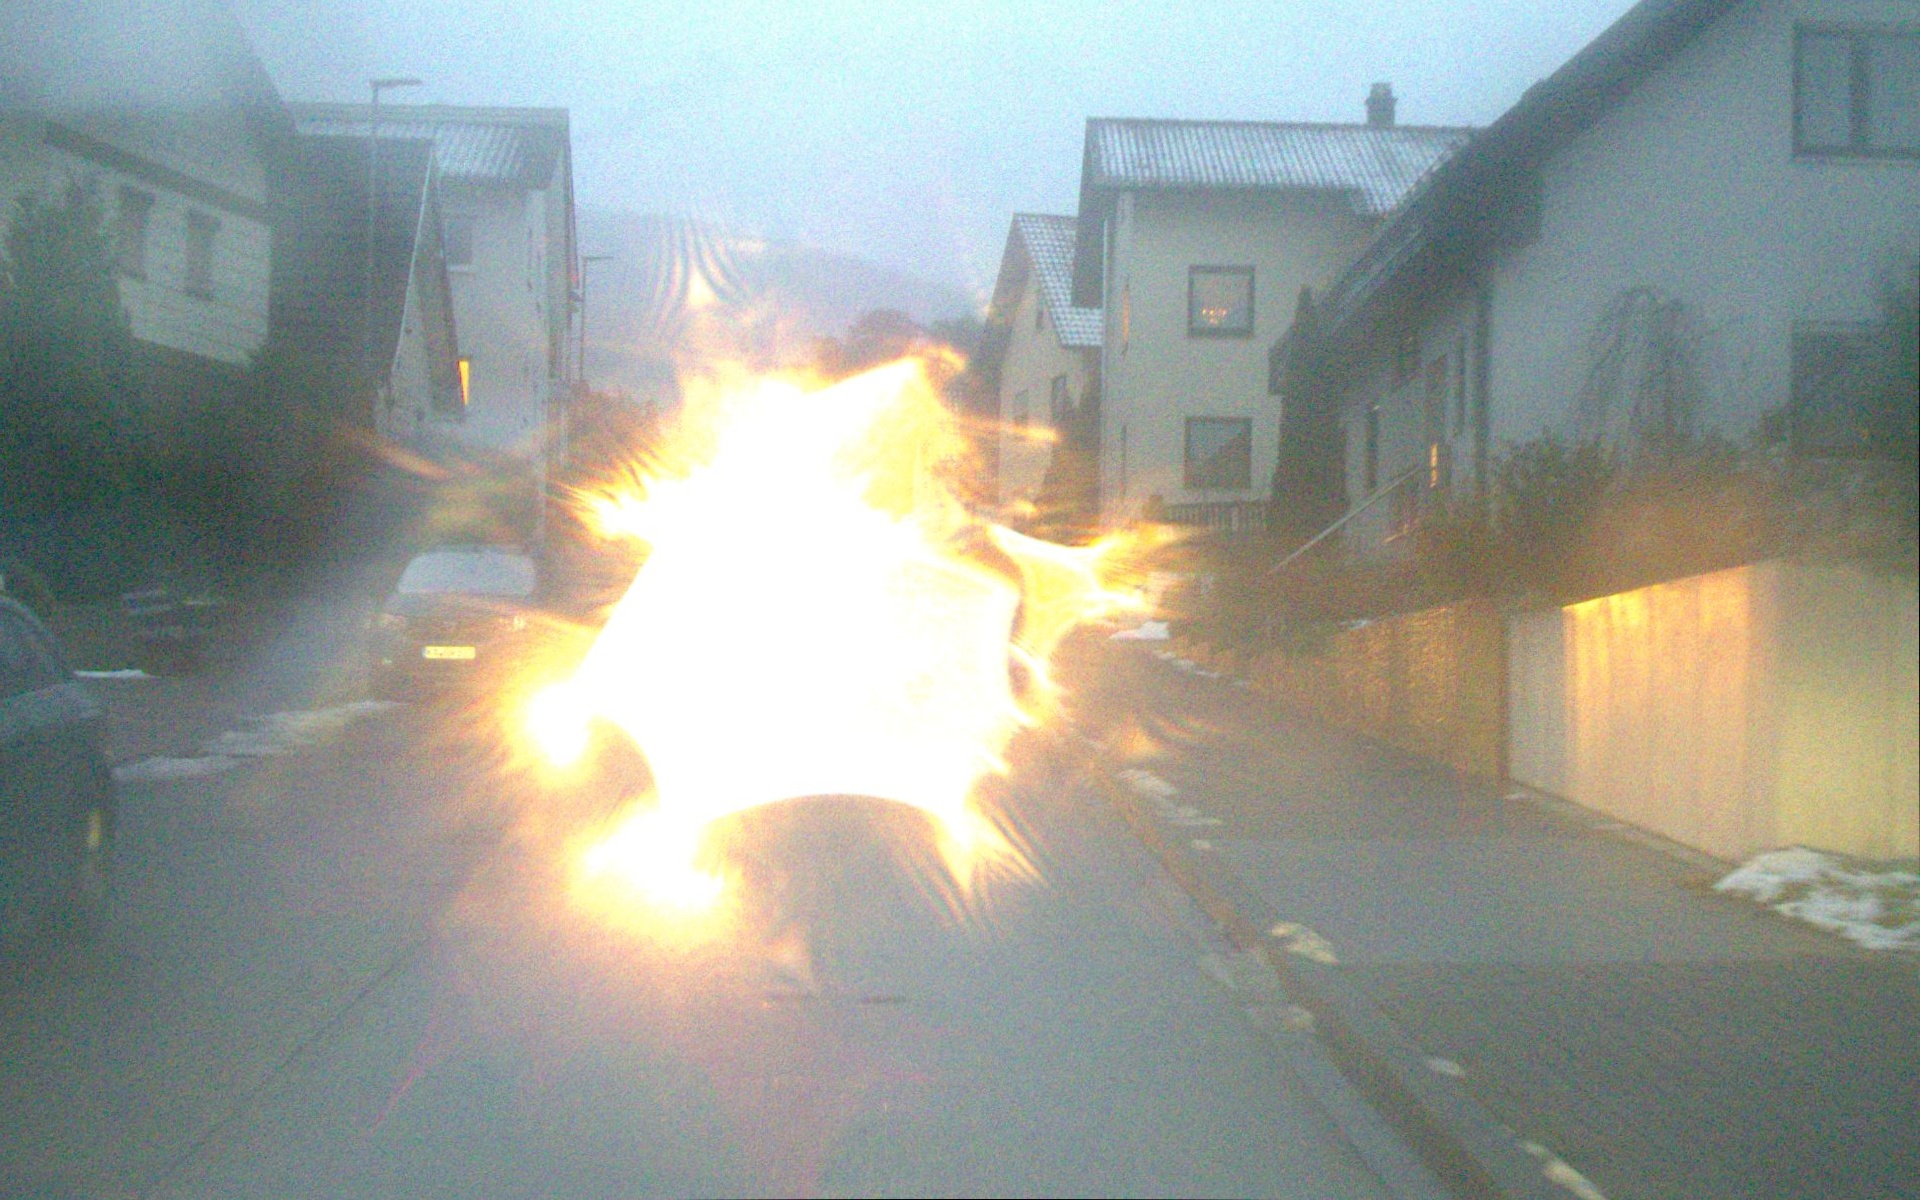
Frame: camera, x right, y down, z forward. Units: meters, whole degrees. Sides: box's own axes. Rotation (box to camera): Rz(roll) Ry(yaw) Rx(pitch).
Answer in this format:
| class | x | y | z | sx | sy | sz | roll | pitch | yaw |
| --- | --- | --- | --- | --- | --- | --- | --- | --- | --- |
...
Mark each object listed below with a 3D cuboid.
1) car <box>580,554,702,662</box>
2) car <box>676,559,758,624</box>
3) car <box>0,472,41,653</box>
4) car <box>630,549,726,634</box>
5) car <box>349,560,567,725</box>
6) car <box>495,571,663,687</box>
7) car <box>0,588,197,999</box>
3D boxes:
| class | x | y | z | sx | sy | sz | roll | pitch | yaw |
| --- | --- | --- | --- | --- | --- | --- | --- | --- | --- |
| car | -5.580 | 0.110 | 60.528 | 1.825 | 1.829 | 4.345 | 0 | 1 | -1 |
| car | -6.546 | -0.215 | 93.039 | 1.993 | 1.644 | 4.000 | -1 | -1 | -1 |
| car | -10.512 | -0.390 | 30.760 | 3.987 | 1.612 | 1.888 | 2 | 0 | 3 |
| car | -6.121 | -0.205 | 75.036 | 1.993 | 1.794 | 4.001 | 0 | 1 | -3 |
| car | -5.065 | 0.420 | 35.151 | 1.683 | 1.579 | 4.176 | 0 | 0 | -1 |
| car | -5.156 | 0.357 | 47.034 | 1.794 | 1.498 | 4.309 | 0 | 1 | 0 |
| car | -4.196 | 0.655 | 12.307 | 1.877 | 1.390 | 5.075 | 0 | 0 | -1 |
